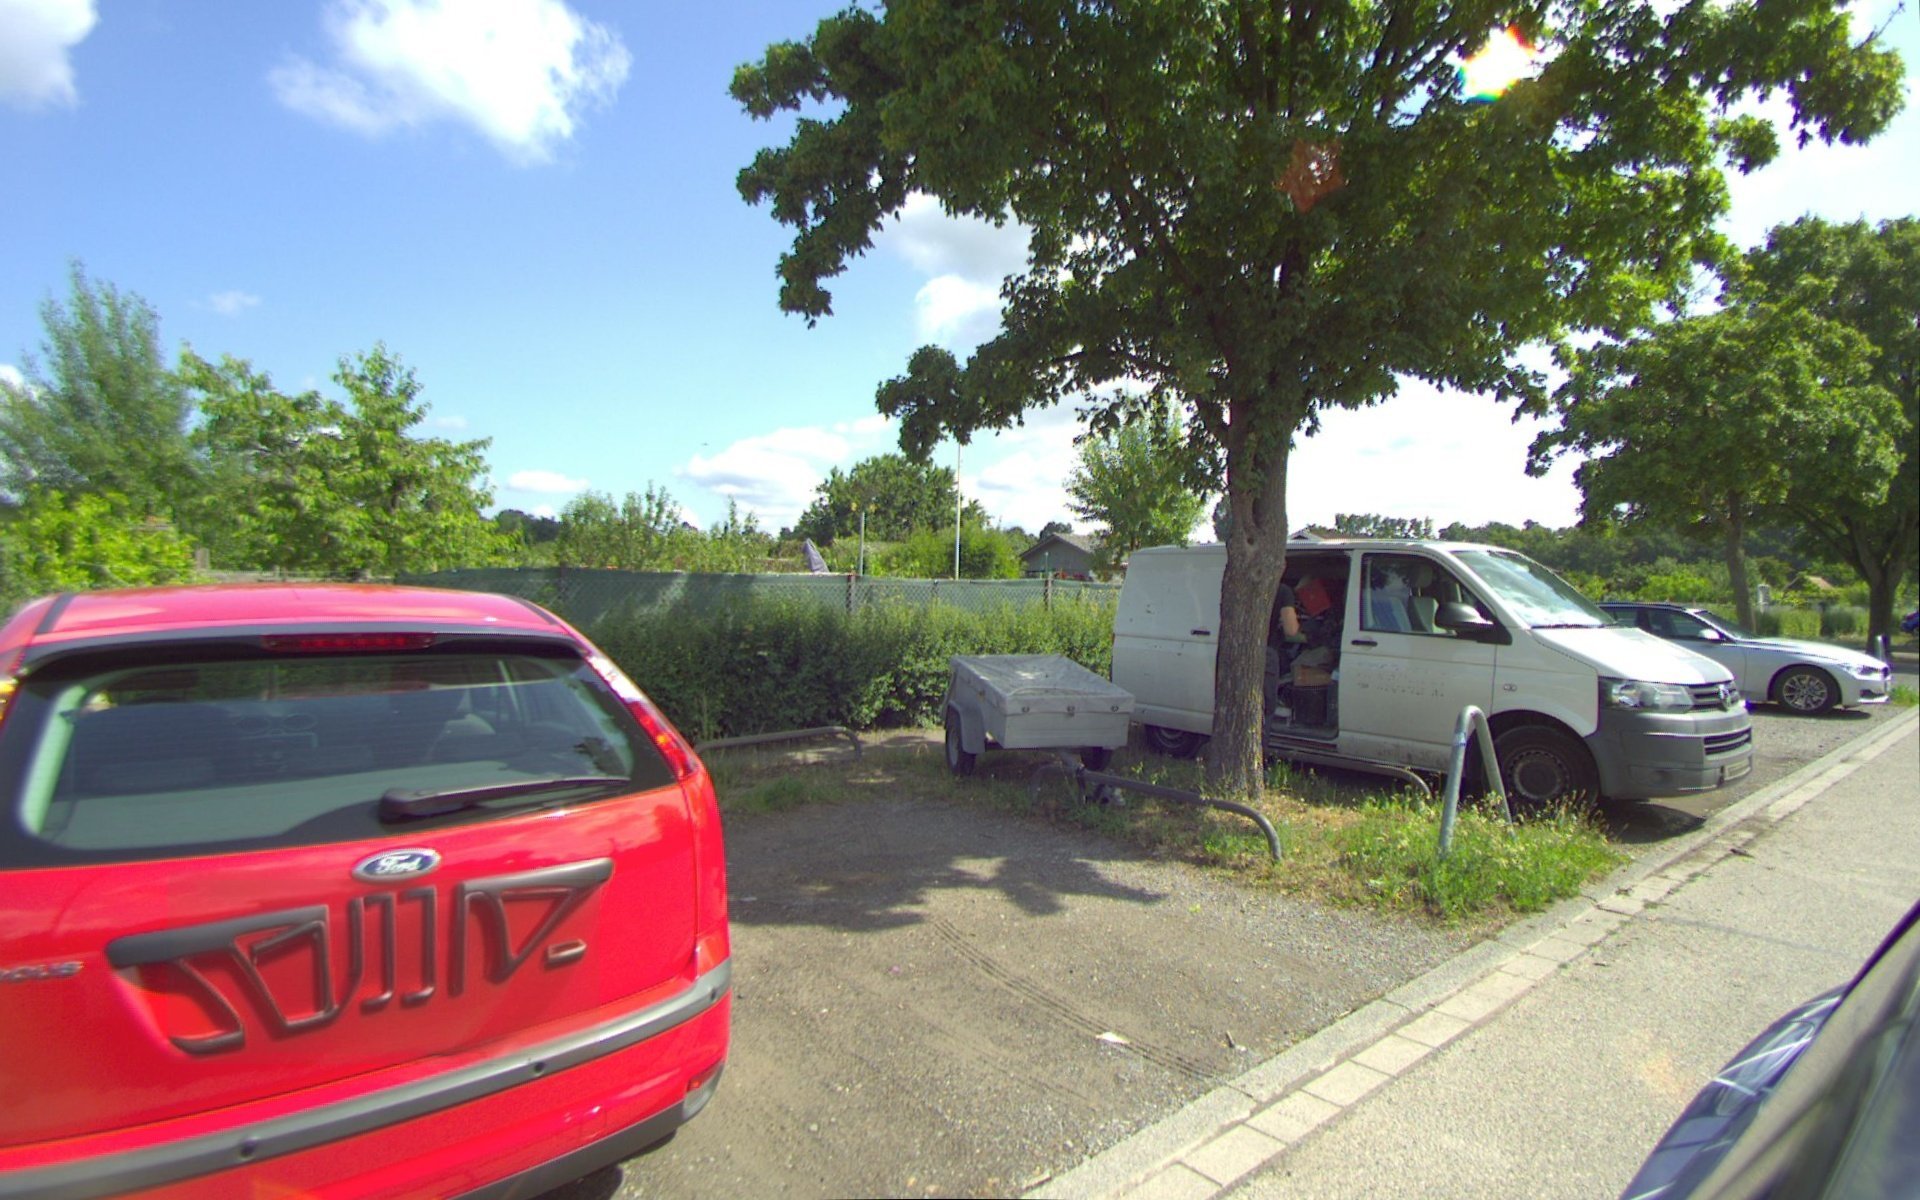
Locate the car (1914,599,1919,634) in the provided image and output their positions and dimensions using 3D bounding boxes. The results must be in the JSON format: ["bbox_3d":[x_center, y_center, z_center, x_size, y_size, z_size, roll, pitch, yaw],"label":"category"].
[{"bbox_3d":[46.497,0.810,46.224,1.750,1.602,4.111,1,1,-42],"label":"car"}]

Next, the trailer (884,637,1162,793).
[{"bbox_3d":[0.342,0.834,8.442,1.527,0.888,3.073,1,1,-12],"label":"trailer"}]

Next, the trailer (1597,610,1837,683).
[{"bbox_3d":[13.579,0.765,18.246,1.965,1.157,3.106,0,0,-40],"label":"trailer"}]

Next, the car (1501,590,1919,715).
[{"bbox_3d":[10.597,0.617,14.562,1.966,1.484,4.582,0,0,-43],"label":"car"}]

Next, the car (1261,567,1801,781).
[{"bbox_3d":[5.426,0.521,10.095,1.964,1.612,4.253,1,2,-40],"label":"car"}]

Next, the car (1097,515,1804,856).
[{"bbox_3d":[3.569,0.401,8.113,2.075,1.910,4.642,0,2,-42],"label":"car"}]

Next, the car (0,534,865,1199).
[{"bbox_3d":[-2.242,0.677,3.346,1.844,1.523,4.192,0,0,-39],"label":"car"}]

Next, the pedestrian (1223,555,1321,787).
[{"bbox_3d":[2.376,0.506,7.730,0.465,1.694,0.524,-1,3,-40],"label":"pedestrian"}]
